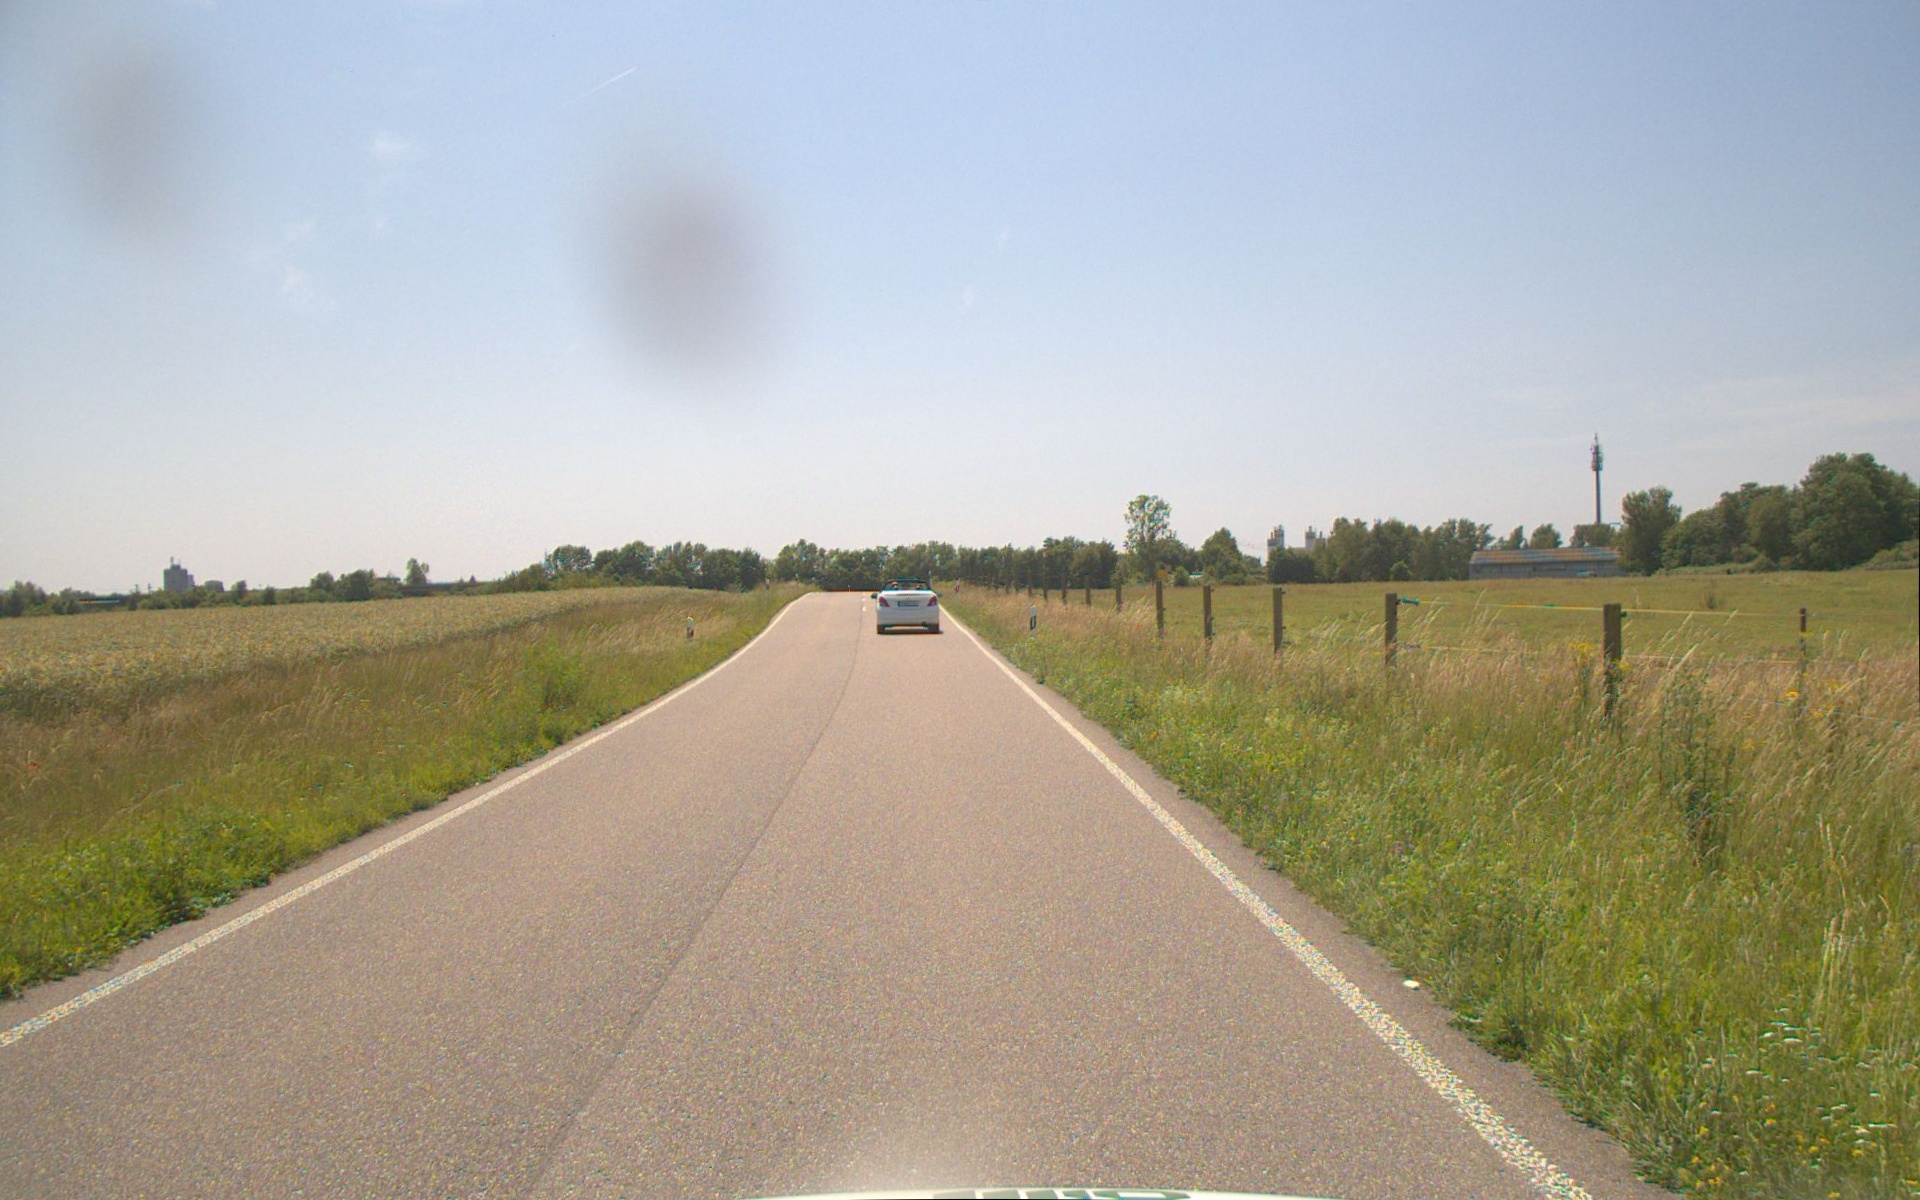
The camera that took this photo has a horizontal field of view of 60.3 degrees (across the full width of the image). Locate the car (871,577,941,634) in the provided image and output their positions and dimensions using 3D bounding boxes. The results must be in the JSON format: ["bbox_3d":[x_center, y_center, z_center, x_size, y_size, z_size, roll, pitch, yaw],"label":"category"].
[{"bbox_3d":[-1.514,0.115,44.956,1.814,1.403,3.998,0,2,-3],"label":"car"}]
